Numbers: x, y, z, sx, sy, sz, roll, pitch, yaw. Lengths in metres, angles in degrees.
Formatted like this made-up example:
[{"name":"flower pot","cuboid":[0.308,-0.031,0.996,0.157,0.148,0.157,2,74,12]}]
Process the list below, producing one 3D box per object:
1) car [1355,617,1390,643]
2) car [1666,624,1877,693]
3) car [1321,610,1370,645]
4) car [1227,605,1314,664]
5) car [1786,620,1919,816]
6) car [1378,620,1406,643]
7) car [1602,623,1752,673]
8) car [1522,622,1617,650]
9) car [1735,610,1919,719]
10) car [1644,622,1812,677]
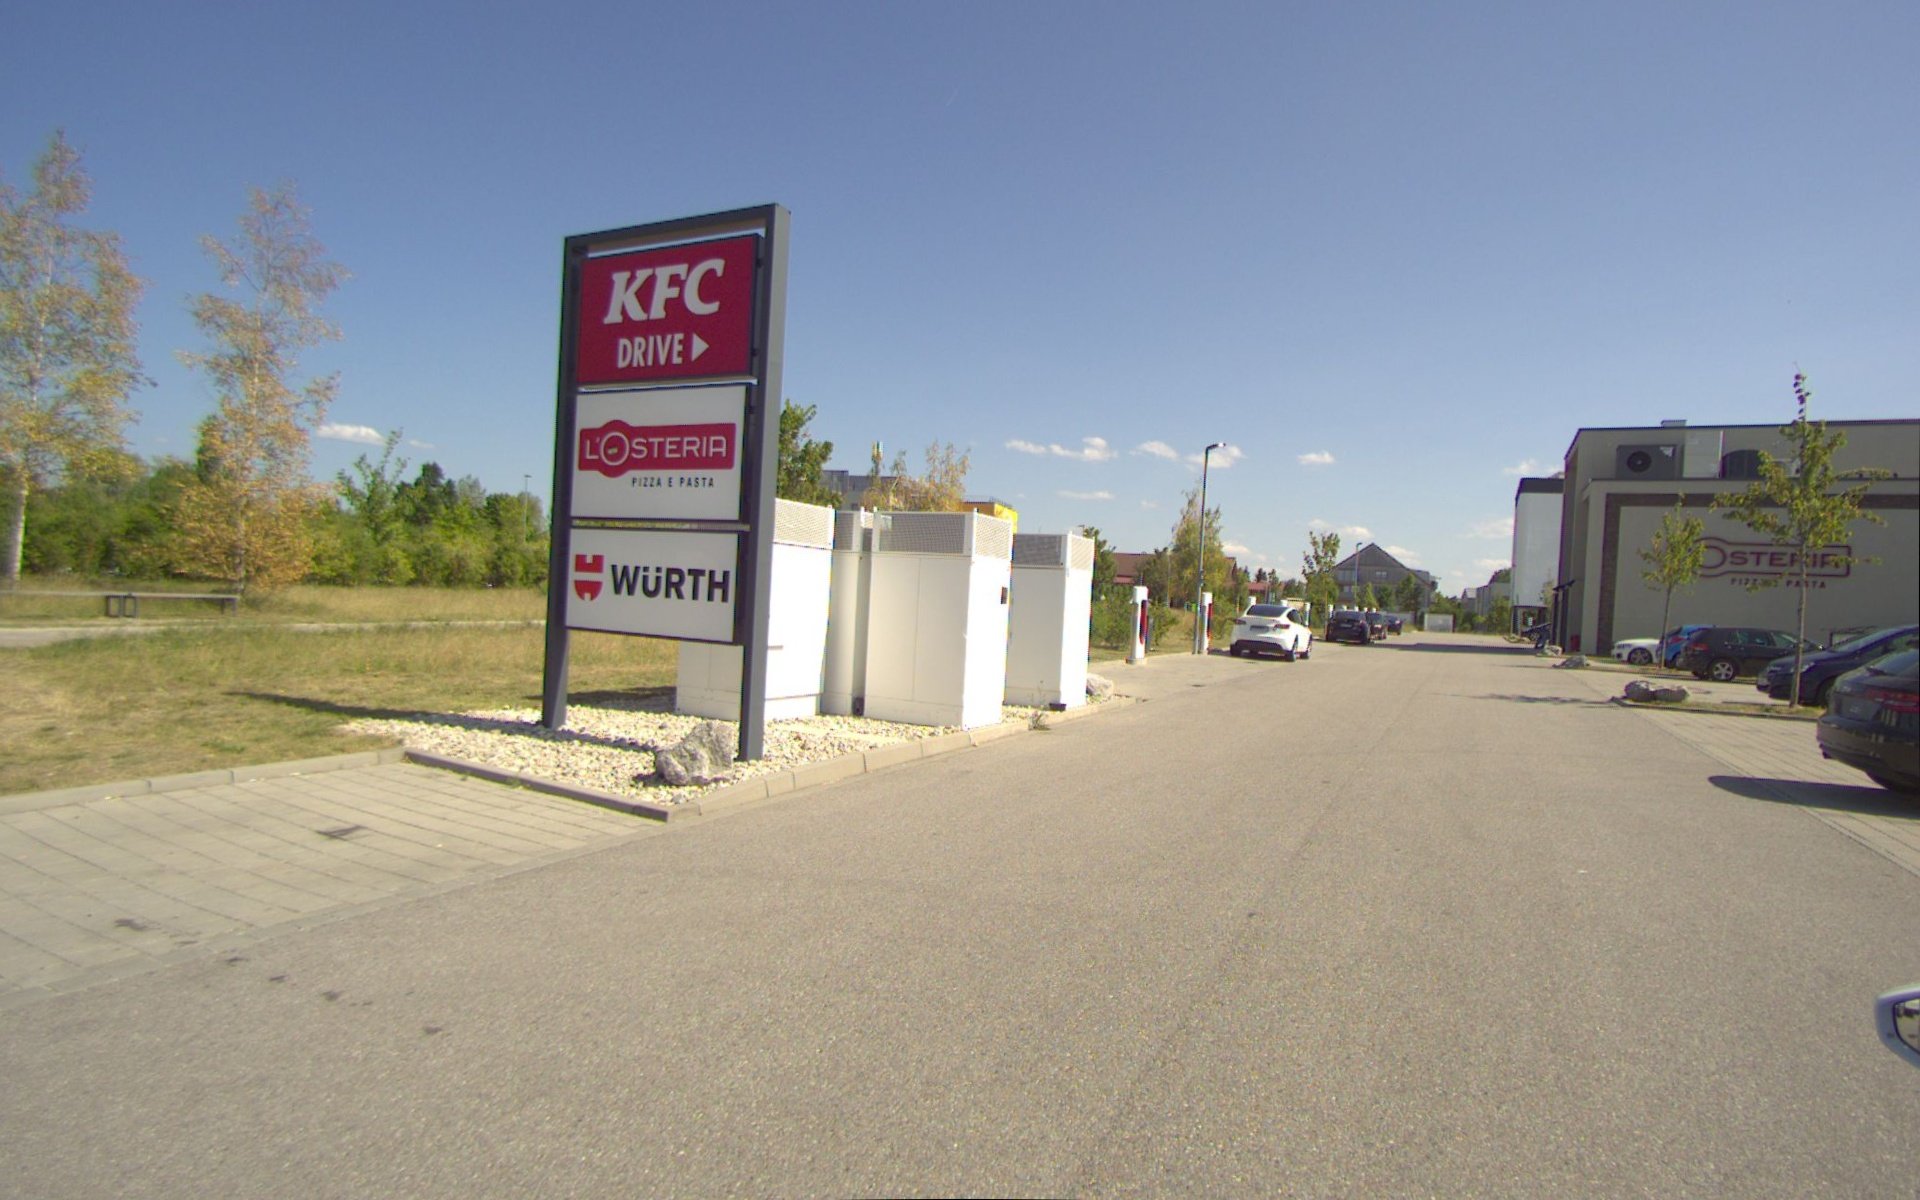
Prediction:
[{"name":"car","cuboid":[24.914,1.797,60.612,1.715,1.405,3.996,3,1,25]},{"name":"car","cuboid":[21.087,1.470,26.298,3.924,1.439,1.649,3,1,24]},{"name":"car","cuboid":[19.389,1.347,50.404,1.914,1.589,3.996,3,1,26]},{"name":"car","cuboid":[9.711,1.028,31.245,1.915,1.589,3.996,3,1,26]},{"name":"car","cuboid":[9.170,1.015,7.612,4.136,1.460,1.696,4,1,27]},{"name":"car","cuboid":[32.749,2.378,76.039,1.715,1.589,3.996,3,1,25]},{"name":"car","cuboid":[24.927,1.637,35.089,3.924,1.439,1.649,3,1,24]},{"name":"car","cuboid":[30.840,1.789,50.971,3.925,1.171,1.998,3,1,26]},{"name":"car","cuboid":[16.465,1.159,17.526,4.300,1.708,1.641,3,1,23]},{"name":"car","cuboid":[24.571,1.551,32.312,3.924,1.439,1.649,3,1,24]}]
